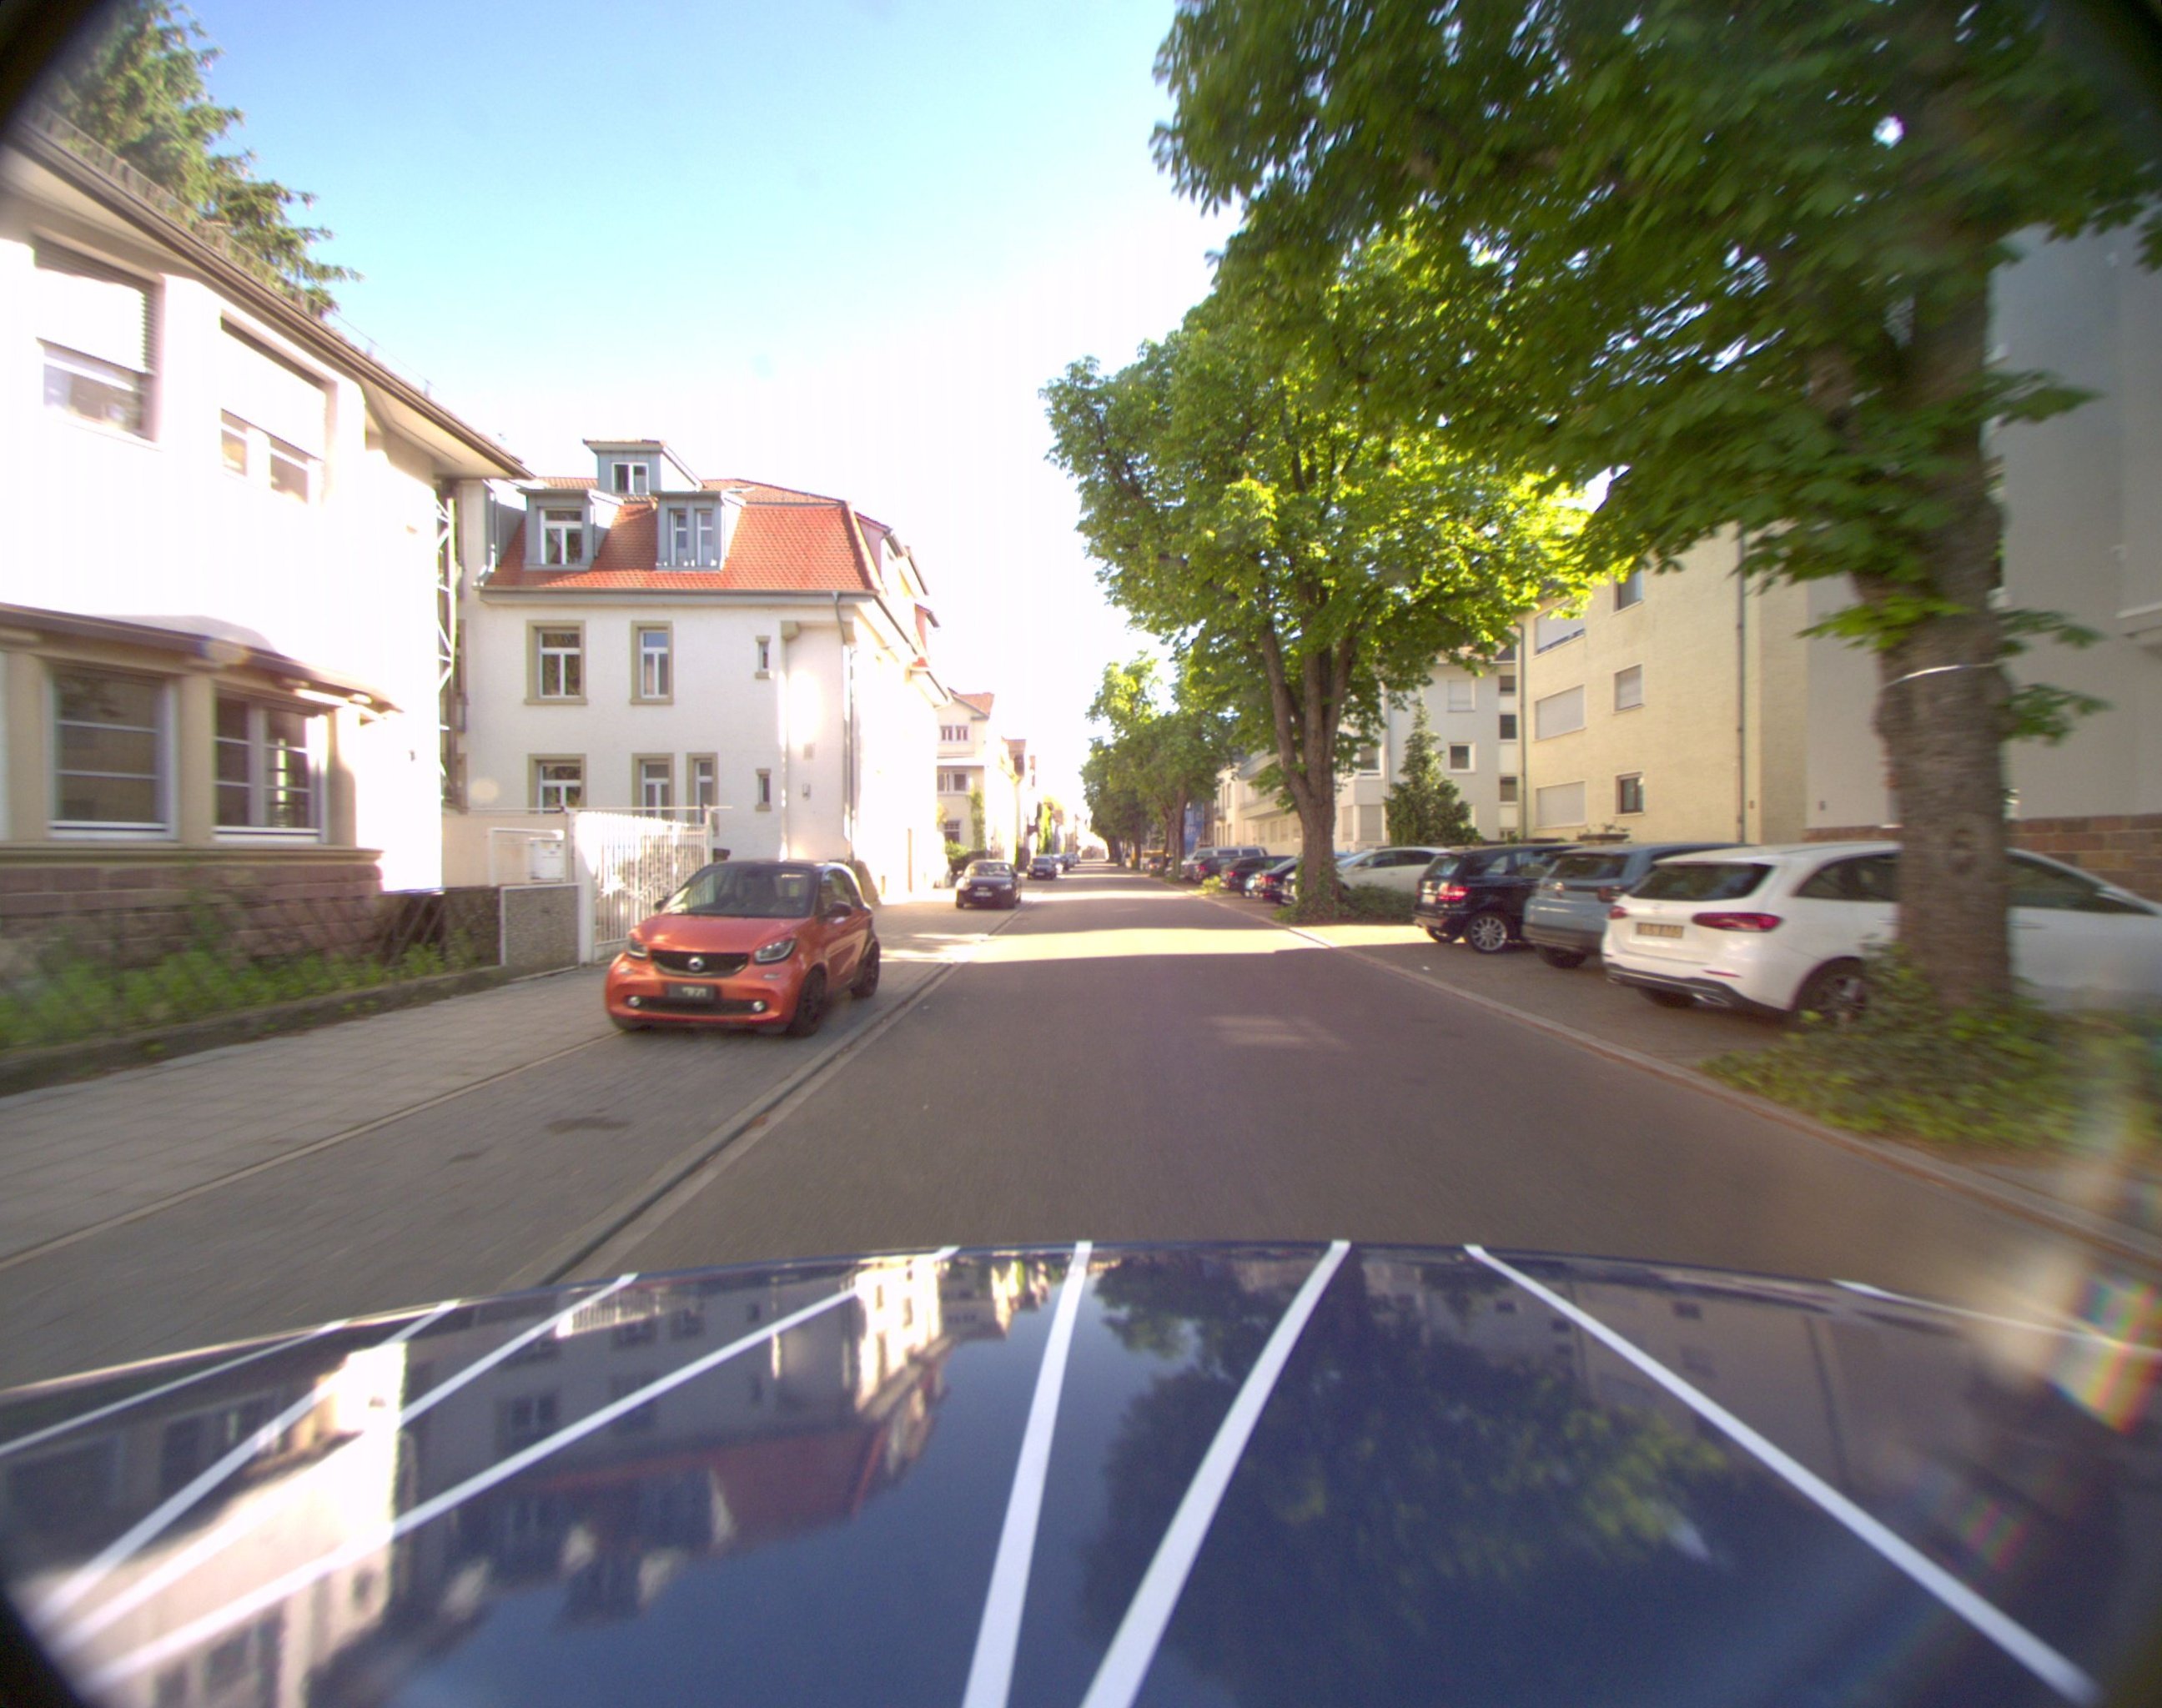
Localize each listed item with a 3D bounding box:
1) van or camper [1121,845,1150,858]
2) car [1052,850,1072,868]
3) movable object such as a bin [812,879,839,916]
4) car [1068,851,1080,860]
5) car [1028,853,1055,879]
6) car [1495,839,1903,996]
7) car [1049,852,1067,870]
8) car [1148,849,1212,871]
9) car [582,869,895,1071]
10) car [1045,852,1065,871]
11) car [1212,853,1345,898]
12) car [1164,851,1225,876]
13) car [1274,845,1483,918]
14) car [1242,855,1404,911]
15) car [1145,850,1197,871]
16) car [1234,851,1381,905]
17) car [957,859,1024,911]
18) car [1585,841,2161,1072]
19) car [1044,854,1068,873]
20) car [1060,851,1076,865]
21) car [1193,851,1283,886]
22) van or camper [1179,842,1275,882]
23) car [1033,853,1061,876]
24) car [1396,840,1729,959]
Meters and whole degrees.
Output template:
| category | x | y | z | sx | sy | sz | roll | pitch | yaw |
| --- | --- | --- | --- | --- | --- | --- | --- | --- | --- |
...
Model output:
| category | x | y | z | sx | sy | sz | roll | pitch | yaw |
| --- | --- | --- | --- | --- | --- | --- | --- | --- | --- |
| van or camper | 7.857 | -0.363 | 109.503 | 3.954 | 1.763 | 1.809 | -1 | -1 | 0 |
| car | -1.936 | 0.476 | 78.089 | 1.782 | 1.686 | 4.319 | -2 | 1 | 1 |
| movable object such as a bin | -6.889 | 1.156 | 20.527 | 0.487 | 0.931 | 0.653 | -3 | 2 | -3 |
| car | -1.195 | 0.278 | 131.619 | 1.813 | 1.546 | 4.106 | -1 | 0 | 1 |
| car | -2.529 | 0.738 | 49.590 | 1.667 | 1.511 | 4.000 | 1 | 1 | -2 |
| car | 7.235 | 0.680 | 9.139 | 3.525 | 1.566 | 1.770 | -2 | 0 | -4 |
| car | -2.179 | 0.649 | 72.954 | 1.629 | 1.540 | 2.869 | -2 | 1 | 0 |
| car | 7.641 | 0.432 | 58.914 | 4.601 | 1.598 | 1.832 | -1 | 1 | -2 |
| car | -3.087 | 0.939 | 7.576 | 1.596 | 1.472 | 3.247 | 1 | 0 | 1 |
| car | -2.213 | 0.628 | 66.389 | 1.579 | 1.540 | 3.468 | 1 | 1 | 0 |
| car | 6.831 | 0.725 | 26.575 | 4.197 | 1.490 | 1.861 | 0 | 1 | 0 |
| car | 7.284 | 0.594 | 49.034 | 3.652 | 1.454 | 1.710 | -2 | 1 | 3 |
| car | 7.154 | 0.643 | 18.610 | 4.396 | 1.642 | 1.823 | -1 | 1 | 2 |
| car | 6.678 | 0.785 | 21.223 | 3.997 | 1.460 | 1.697 | 0 | 1 | 0 |
| car | 7.389 | 0.543 | 62.811 | 3.883 | 1.505 | 1.831 | -3 | 1 | -8 |
| car | 6.918 | 0.717 | 23.526 | 3.997 | 1.583 | 1.878 | 0 | 1 | -1 |
| car | -2.735 | 0.894 | 23.601 | 1.624 | 1.431 | 3.934 | 2 | 0 | -1 |
| car | 6.797 | 0.723 | 6.274 | 4.033 | 1.476 | 1.807 | -2 | 0 | 0 |
| car | -2.020 | 0.750 | 61.900 | 1.713 | 1.428 | 4.192 | 2 | 1 | 0 |
| car | -1.677 | 0.499 | 98.205 | 1.872 | 1.635 | 4.199 | 0 | 0 | 1 |
| car | 7.363 | 0.670 | 35.939 | 3.954 | 1.490 | 1.662 | -2 | 1 | 3 |
| van or camper | 7.350 | 0.394 | 38.657 | 4.508 | 1.903 | 1.964 | -1 | 1 | 1 |
| car | -2.429 | 0.702 | 55.541 | 1.796 | 1.511 | 4.366 | 1 | 1 | 0 |
| car | 7.131 | 0.643 | 11.613 | 3.872 | 1.566 | 1.848 | -2 | 0 | 4 |
